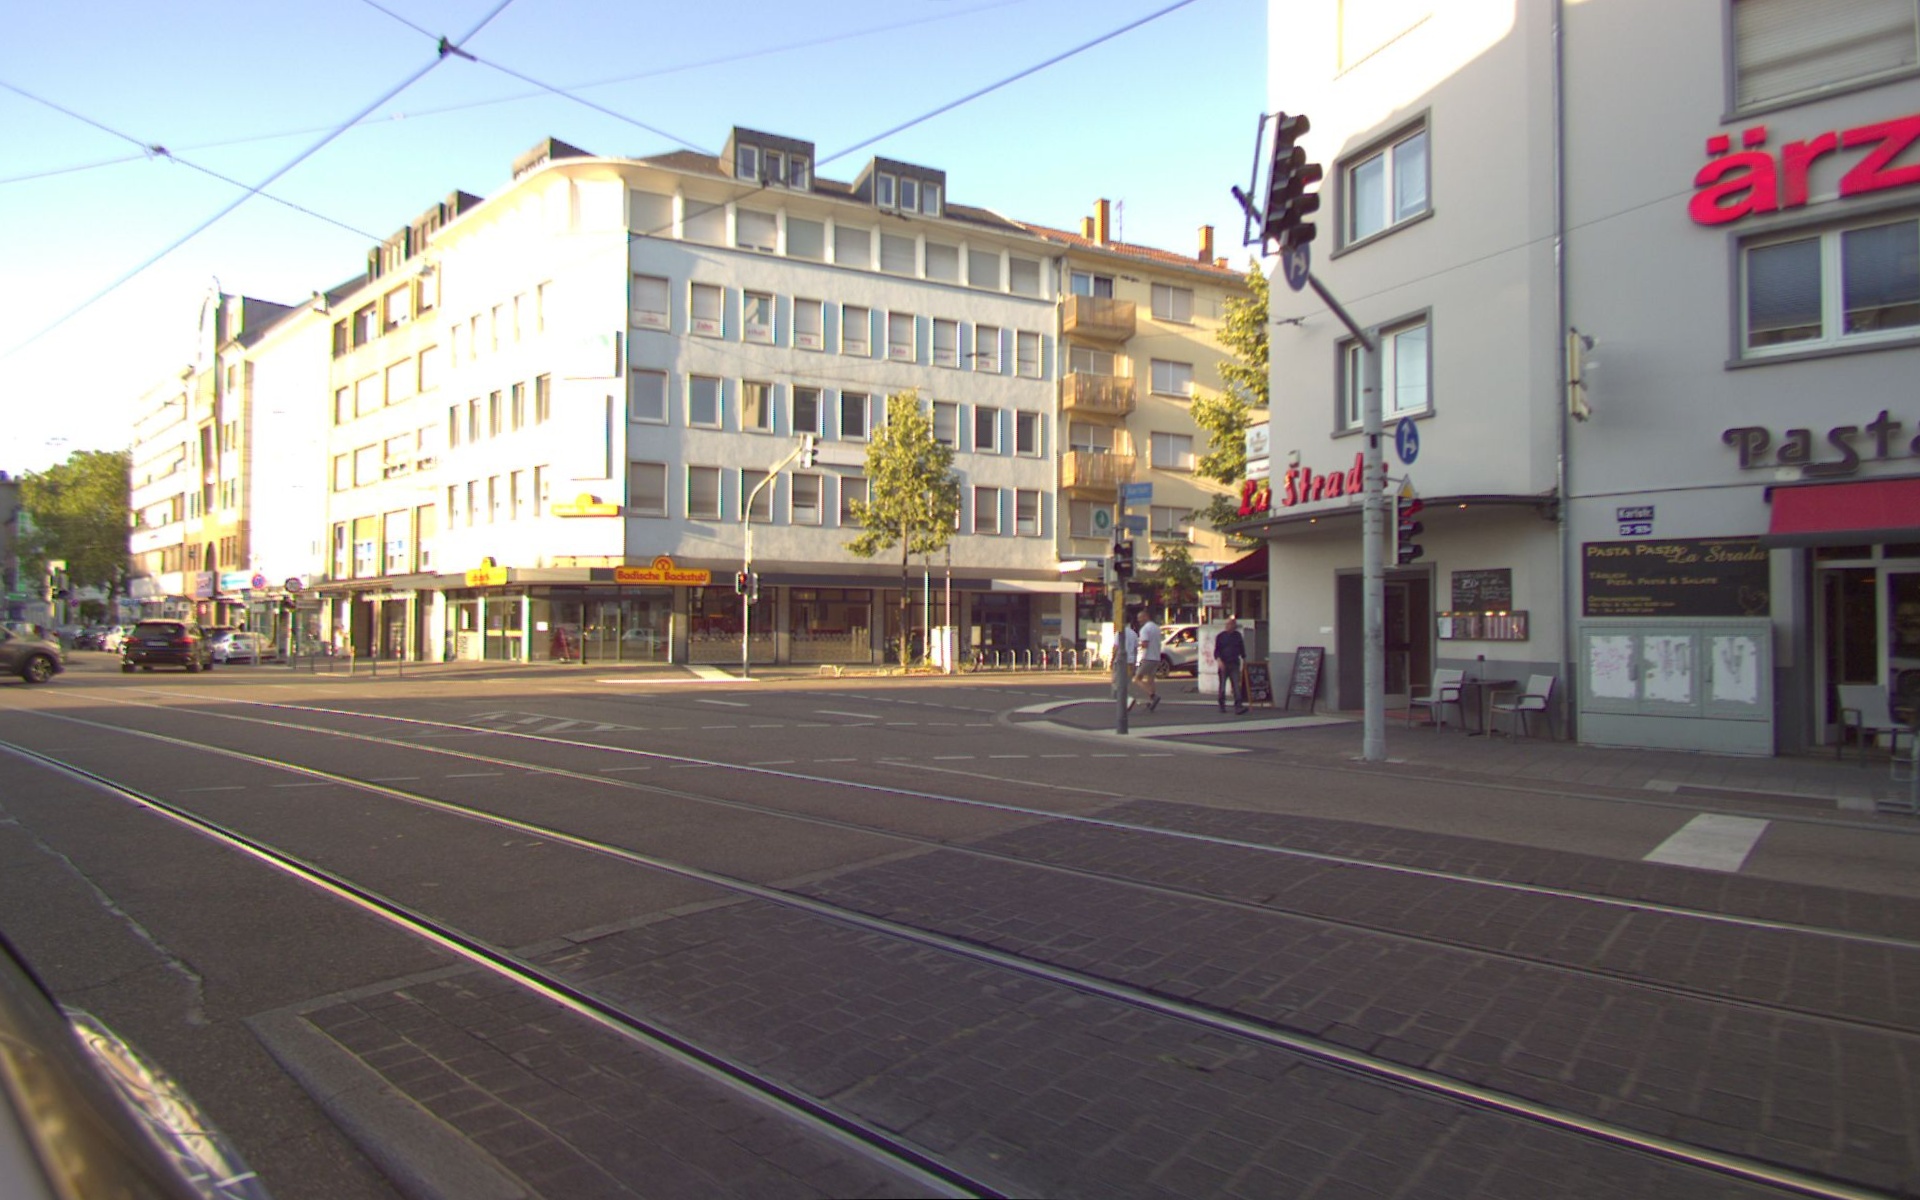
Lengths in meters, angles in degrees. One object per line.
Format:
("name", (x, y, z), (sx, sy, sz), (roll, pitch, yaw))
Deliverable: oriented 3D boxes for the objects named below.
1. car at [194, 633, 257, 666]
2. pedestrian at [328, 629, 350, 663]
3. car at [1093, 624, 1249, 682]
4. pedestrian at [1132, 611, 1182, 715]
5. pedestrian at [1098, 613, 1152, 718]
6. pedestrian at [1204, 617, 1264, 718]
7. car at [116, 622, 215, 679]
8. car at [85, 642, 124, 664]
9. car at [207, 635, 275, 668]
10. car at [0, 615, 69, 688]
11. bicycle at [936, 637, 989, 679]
("car", (-33.628, 2.255, 46.315), (3.387, 1.364, 1.615), (-3, -1, 42))
("pedestrian", (-27.266, 2.017, 44.416), (0.621, 1.483, 0.539), (-2, 0, 26))
("car", (6.144, 1.557, 29.500), (3.943, 1.568, 2.121), (2, -4, -24))
("pedestrian", (3.478, 1.106, 17.890), (0.627, 1.792, 0.602), (1, -2, -31))
("pedestrian", (2.849, 1.118, 17.468), (0.627, 1.758, 0.671), (1, -2, -31))
("pedestrian", (4.736, 1.147, 17.504), (0.701, 1.689, 0.705), (1, -2, -20))
("car", (-25.796, 1.602, 33.023), (1.775, 1.711, 4.583), (1, -2, -29))
("car", (-53.675, 3.331, 63.509), (3.146, 1.301, 1.440), (-3, -1, 42))
("car", (-30.416, 2.178, 42.791), (3.387, 1.263, 1.615), (-3, -1, 42))
("car", (-23.576, 1.200, 23.346), (1.811, 1.711, 4.240), (-1, -2, 14))
("bicycle", (0.062, 1.878, 33.426), (0.629, 1.262, 2.382), (2, -1, -29))
